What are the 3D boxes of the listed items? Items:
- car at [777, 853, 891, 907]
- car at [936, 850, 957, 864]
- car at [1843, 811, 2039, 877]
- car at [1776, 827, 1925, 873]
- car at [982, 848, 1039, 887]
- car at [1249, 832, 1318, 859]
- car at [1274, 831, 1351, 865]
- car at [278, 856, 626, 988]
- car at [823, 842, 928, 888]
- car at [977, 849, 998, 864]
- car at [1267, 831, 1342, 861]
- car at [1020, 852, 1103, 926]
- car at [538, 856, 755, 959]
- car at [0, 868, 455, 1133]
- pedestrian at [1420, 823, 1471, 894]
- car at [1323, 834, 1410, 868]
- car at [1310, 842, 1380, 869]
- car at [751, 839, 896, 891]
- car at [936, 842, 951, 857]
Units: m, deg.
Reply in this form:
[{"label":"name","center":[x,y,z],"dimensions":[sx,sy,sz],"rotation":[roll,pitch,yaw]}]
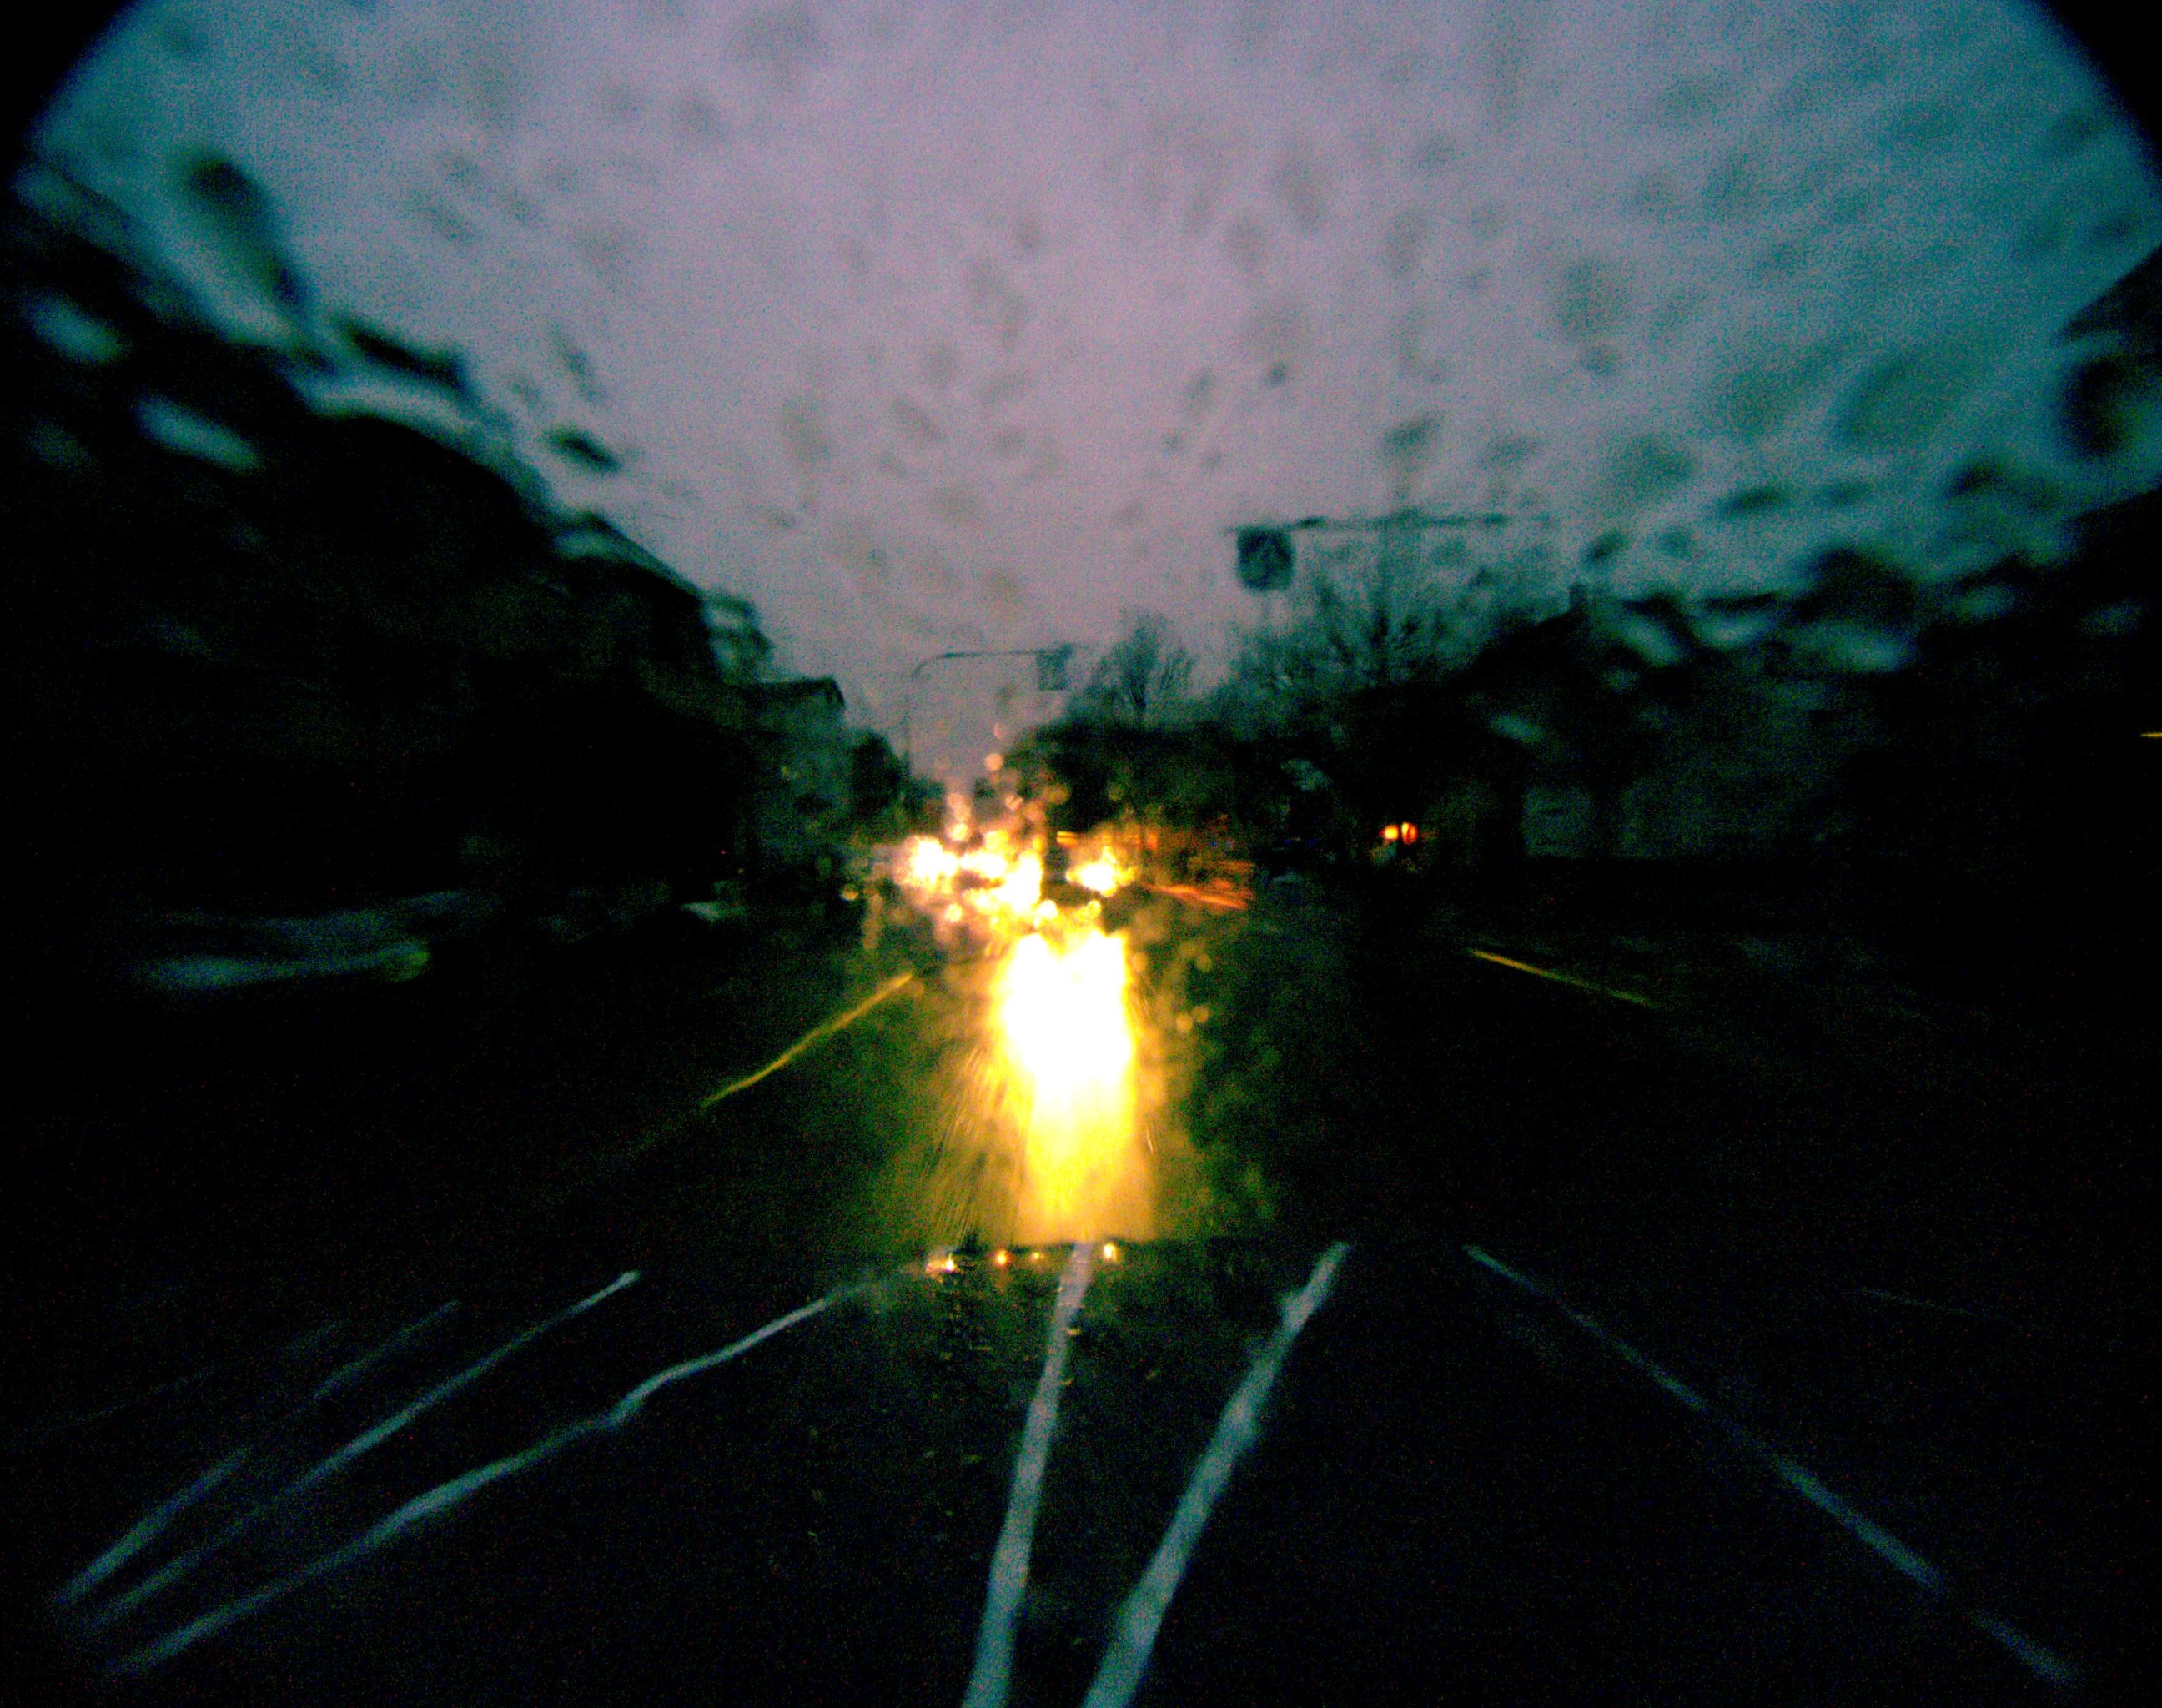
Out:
[{"label":"car","center":[-6.934,0.716,21.520],"dimensions":[2.770,1.465,1.426],"rotation":[0,1,-1]},{"label":"car","center":[-15.488,0.331,87.259],"dimensions":[1.903,1.458,3.994],"rotation":[-3,1,-15]},{"label":"car","center":[24.555,-0.286,21.792],"dimensions":[3.607,1.603,1.713],"rotation":[-3,1,1]},{"label":"car","center":[24.630,-0.134,24.393],"dimensions":[3.051,1.120,1.529],"rotation":[-6,1,5]},{"label":"car","center":[-3.339,0.582,35.377],"dimensions":[1.926,1.608,3.863],"rotation":[-3,1,-15]},{"label":"car","center":[12.816,-0.511,48.072],"dimensions":[3.991,1.623,1.637],"rotation":[-1,1,22]},{"label":"car","center":[12.157,-0.325,39.911],"dimensions":[3.626,1.603,1.613],"rotation":[-2,1,25]},{"label":"car","center":[-7.680,0.780,9.486],"dimensions":[3.072,1.465,1.549],"rotation":[0,1,2]},{"label":"car","center":[-8.671,0.452,32.354],"dimensions":[4.054,1.833,1.862],"rotation":[1,1,-6]},{"label":"car","center":[-10.901,0.276,88.475],"dimensions":[1.902,1.607,3.822],"rotation":[-2,1,-13]},{"label":"car","center":[12.654,-0.435,43.048],"dimensions":[3.992,1.623,1.636],"rotation":[-1,1,17]},{"label":"car","center":[-0.395,0.760,18.343],"dimensions":[1.731,1.475,3.603],"rotation":[-3,1,1]},{"label":"car","center":[-6.881,0.806,12.233],"dimensions":[2.589,1.538,1.551],"rotation":[0,0,-1]},{"label":"car","center":[-7.075,0.874,5.352],"dimensions":[3.909,1.465,1.751],"rotation":[0,1,2]},{"label":"pedestrian","center":[9.226,0.112,19.252],"dimensions":[0.881,1.725,0.956],"rotation":[-2,1,7]},{"label":"car","center":[12.937,-0.128,34.447],"dimensions":[3.477,1.401,1.613],"rotation":[-2,1,27]},{"label":"car","center":[12.885,0.071,37.102],"dimensions":[3.048,1.213,1.613],"rotation":[-2,1,25]},{"label":"car","center":[-9.909,0.427,29.533],"dimensions":[4.994,1.878,1.936],"rotation":[1,0,-1]},{"label":"car","center":[-19.501,-0.661,107.658],"dimensions":[1.839,2.002,3.695],"rotation":[-3,1,-15]}]
